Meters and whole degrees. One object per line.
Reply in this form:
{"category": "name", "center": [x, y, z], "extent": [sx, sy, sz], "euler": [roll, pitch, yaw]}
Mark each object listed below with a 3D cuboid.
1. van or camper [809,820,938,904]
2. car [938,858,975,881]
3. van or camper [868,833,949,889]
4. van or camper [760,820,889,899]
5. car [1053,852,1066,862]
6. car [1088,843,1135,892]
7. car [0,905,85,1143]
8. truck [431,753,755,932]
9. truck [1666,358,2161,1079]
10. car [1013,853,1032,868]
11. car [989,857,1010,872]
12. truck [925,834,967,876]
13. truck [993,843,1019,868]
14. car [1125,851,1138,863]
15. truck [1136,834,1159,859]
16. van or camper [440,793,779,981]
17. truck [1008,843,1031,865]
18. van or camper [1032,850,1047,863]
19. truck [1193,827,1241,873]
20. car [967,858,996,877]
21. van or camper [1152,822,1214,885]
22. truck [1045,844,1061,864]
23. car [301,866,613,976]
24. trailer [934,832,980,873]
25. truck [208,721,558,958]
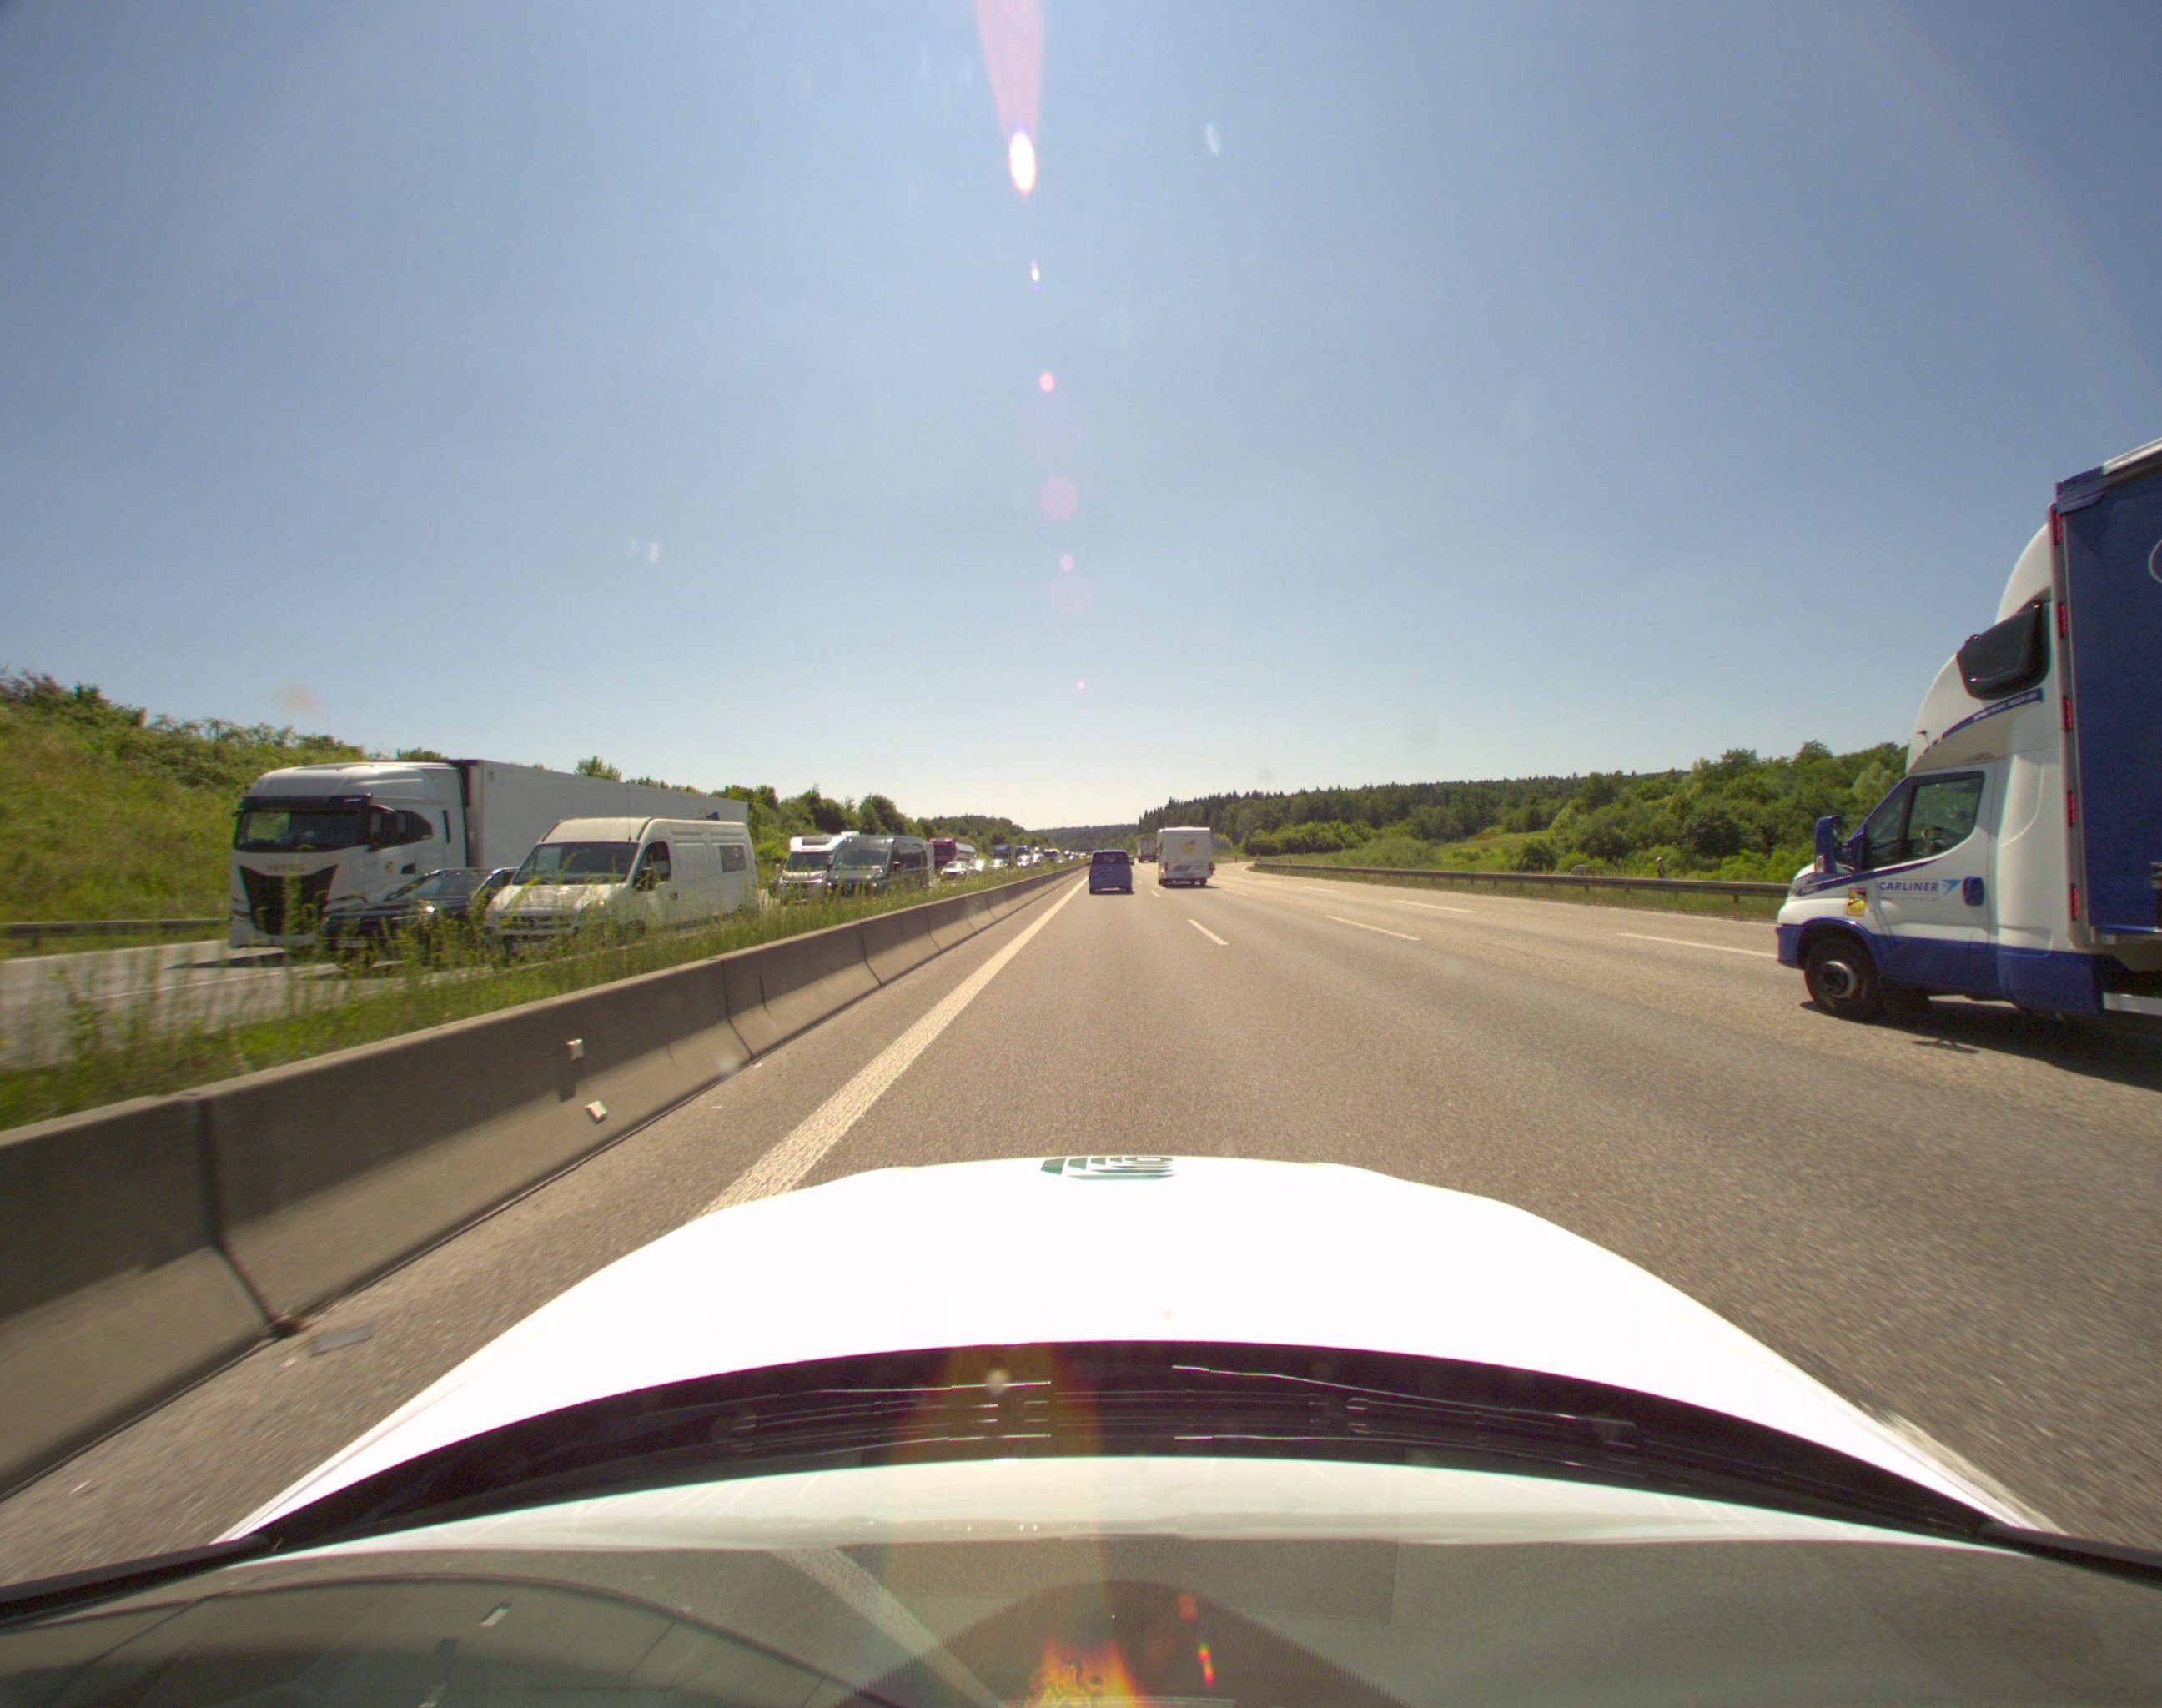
{"category": "van or camper", "center": [-6.782, 0.268, 27.710], "extent": [2.289, 2.435, 7.285], "euler": [-2, -1, 1]}
{"category": "car", "center": [-9.107, 1.118, 59.883], "extent": [1.875, 1.627, 4.360], "euler": [-2, -1, 2]}
{"category": "van or camper", "center": [-10.052, 0.417, 48.282], "extent": [2.534, 2.937, 8.138], "euler": [-2, -1, 3]}
{"category": "van or camper", "center": [-10.676, 0.242, 34.831], "extent": [2.534, 2.937, 7.834], "euler": [-2, -1, 3]}
{"category": "car", "center": [-3.572, 0.434, 134.272], "extent": [1.747, 1.584, 4.856], "euler": [-2, -1, 2]}
{"category": "car", "center": [1.355, 0.555, 36.394], "extent": [1.902, 2.013, 4.002], "euler": [-2, 1, 2]}
{"category": "car", "center": [-7.472, 1.042, 2.880], "extent": [1.812, 1.408, 4.884], "euler": [-2, -1, 1]}
{"category": "truck", "center": [-14.293, -0.224, 25.929], "extent": [2.511, 4.326, 12.426], "euler": [0, -1, 2]}
{"category": "truck", "center": [7.569, -0.790, 3.811], "extent": [2.773, 4.128, 9.741], "euler": [0, -1, 1]}
{"category": "car", "center": [-7.865, 0.877, 109.766], "extent": [2.016, 1.958, 5.096], "euler": [-2, -1, 2]}
{"category": "car", "center": [-8.694, 1.095, 87.095], "extent": [1.747, 1.550, 4.191], "euler": [0, -1, 2]}
{"category": "truck", "center": [-12.948, 0.136, 78.435], "extent": [2.772, 3.823, 6.034], "euler": [0, -1, 2]}
{"category": "truck", "center": [-11.247, 0.253, 122.669], "extent": [2.535, 3.675, 9.942], "euler": [-2, -1, 2]}
{"category": "car", "center": [7.773, 0.527, 125.902], "extent": [1.811, 1.794, 3.896], "euler": [0, -1, 2]}
{"category": "truck", "center": [11.620, -1.237, 143.117], "extent": [3.474, 4.170, 8.645], "euler": [0, -1, 2]}
{"category": "van or camper", "center": [-7.569, 0.471, 14.149], "extent": [2.185, 2.506, 6.059], "euler": [-2, -1, 1]}
{"category": "truck", "center": [-11.090, 0.027, 148.510], "extent": [3.477, 4.037, 6.646], "euler": [0, -1, 2]}
{"category": "van or camper", "center": [-6.948, 0.456, 137.192], "extent": [1.986, 2.153, 4.719], "euler": [-3, -1, 1]}
{"category": "truck", "center": [11.573, -0.353, 70.063], "extent": [2.916, 3.575, 8.531], "euler": [-2, 1, 2]}
{"category": "car", "center": [-8.858, 1.190, 72.798], "extent": [1.747, 1.584, 4.787], "euler": [-2, -1, 2]}
{"category": "van or camper", "center": [5.322, 0.013, 43.439], "extent": [2.593, 3.079, 7.184], "euler": [0, -1, 2]}
{"category": "truck", "center": [-5.786, 0.061, 169.249], "extent": [2.608, 3.890, 7.405], "euler": [-3, -1, 2]}
{"category": "car", "center": [-10.901, 1.058, 14.833], "extent": [1.812, 1.588, 4.884], "euler": [-2, -1, 1]}
{"category": "trailer", "center": [-12.811, -0.114, 85.065], "extent": [2.670, 3.950, 12.277], "euler": [-1, 0, 1]}
{"category": "truck", "center": [-14.656, -0.241, 17.796], "extent": [2.510, 4.326, 5.670], "euler": [0, -1, 3]}
